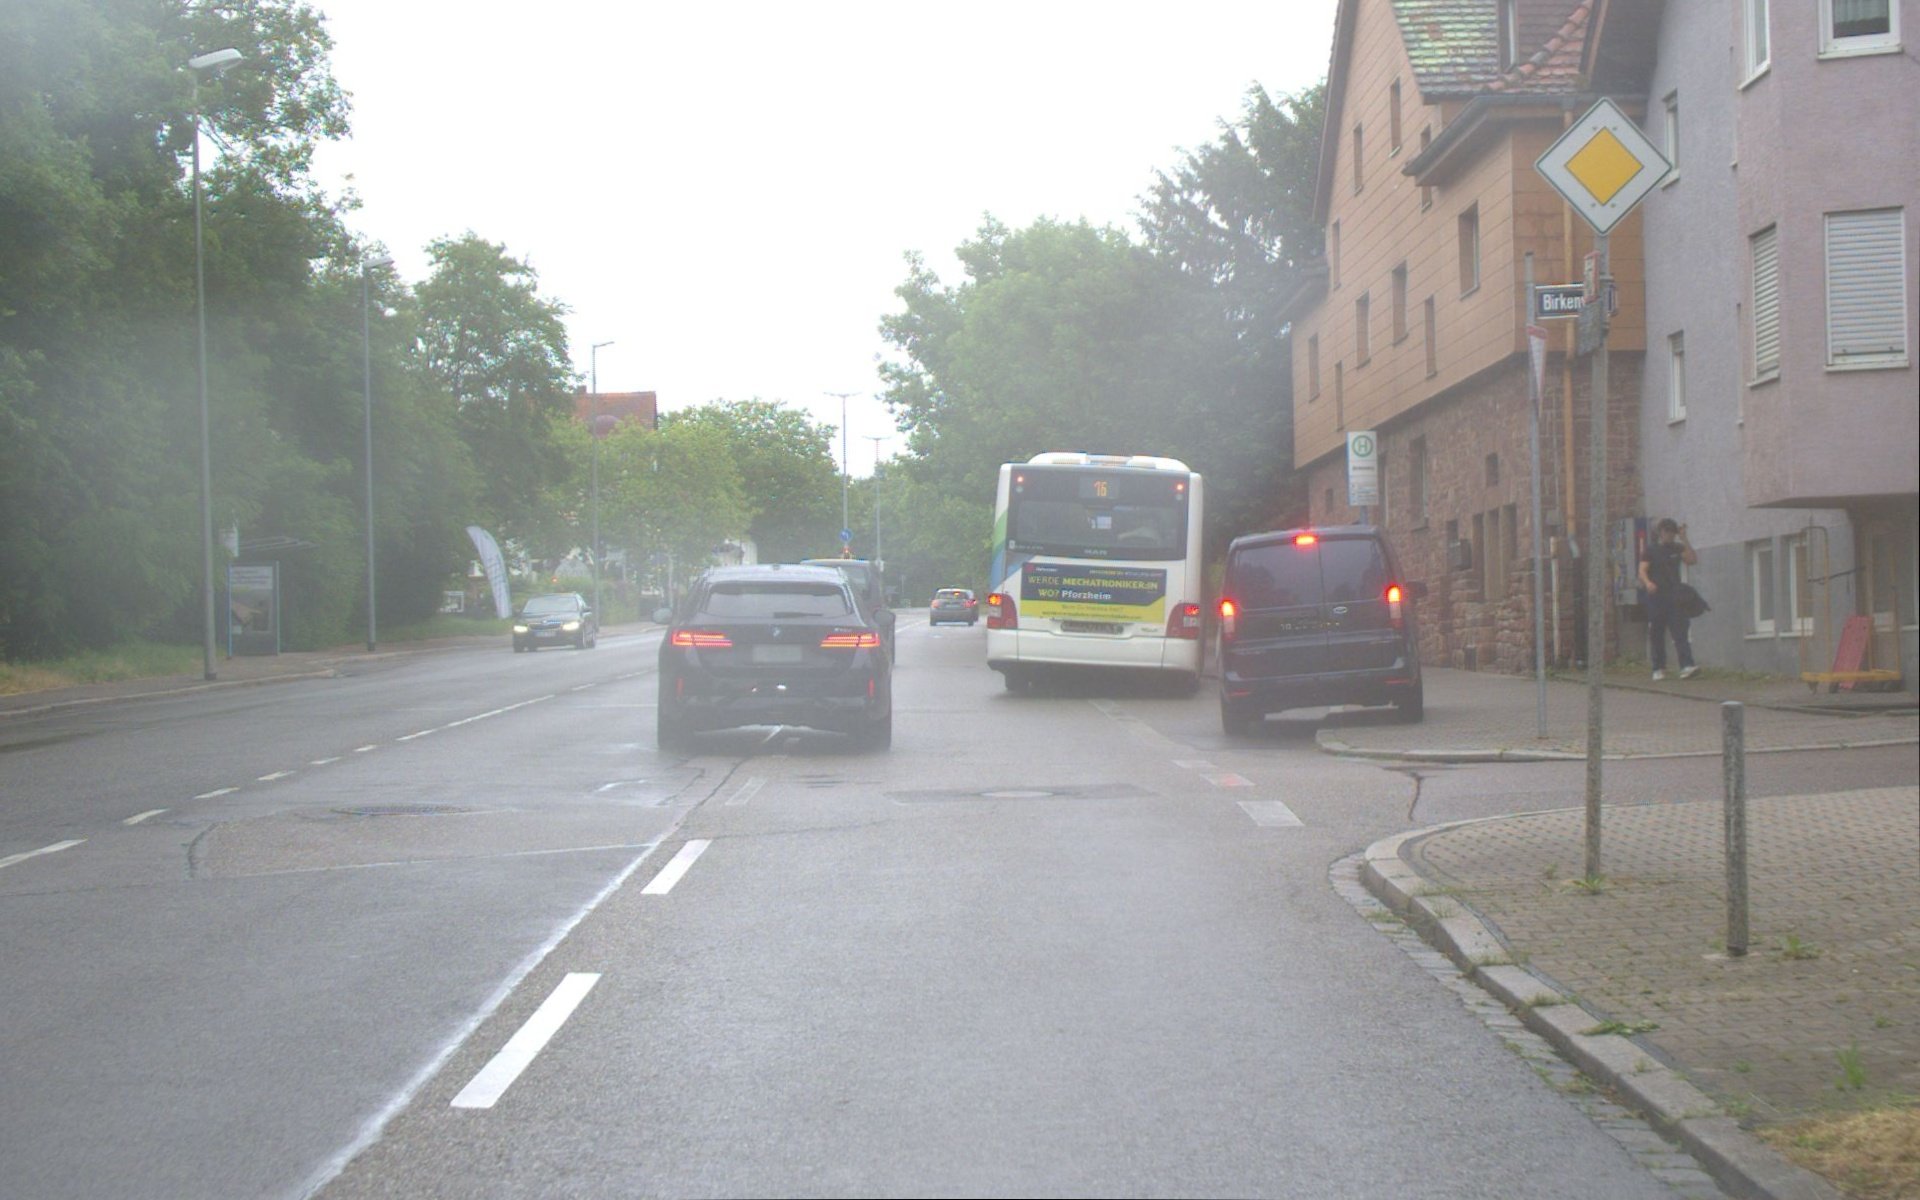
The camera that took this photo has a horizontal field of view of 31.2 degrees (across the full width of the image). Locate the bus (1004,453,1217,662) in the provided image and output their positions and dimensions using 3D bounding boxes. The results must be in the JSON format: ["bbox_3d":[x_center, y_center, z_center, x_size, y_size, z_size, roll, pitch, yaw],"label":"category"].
[{"bbox_3d":[2.177,-0.705,53.113,2.623,2.837,9.795,-2,1,-1],"label":"bus"}]

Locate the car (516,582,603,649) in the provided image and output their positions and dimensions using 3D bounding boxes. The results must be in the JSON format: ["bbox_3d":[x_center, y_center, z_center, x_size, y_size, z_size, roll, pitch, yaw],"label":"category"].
[{"bbox_3d":[-10.113,0.372,87.040,1.770,1.528,4.000,-2,1,-1],"label":"car"}]

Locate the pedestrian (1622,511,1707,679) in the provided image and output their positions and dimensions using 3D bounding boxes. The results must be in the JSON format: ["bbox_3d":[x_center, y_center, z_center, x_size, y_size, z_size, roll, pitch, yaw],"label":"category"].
[{"bbox_3d":[7.523,-0.060,36.716,0.690,1.748,0.669,-2,1,-1],"label":"pedestrian"}]

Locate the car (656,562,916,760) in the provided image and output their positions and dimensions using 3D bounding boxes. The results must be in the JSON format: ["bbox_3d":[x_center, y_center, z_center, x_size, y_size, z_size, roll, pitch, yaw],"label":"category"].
[{"bbox_3d":[-1.509,0.455,28.927,1.993,1.448,4.001,2,1,-4],"label":"car"}]

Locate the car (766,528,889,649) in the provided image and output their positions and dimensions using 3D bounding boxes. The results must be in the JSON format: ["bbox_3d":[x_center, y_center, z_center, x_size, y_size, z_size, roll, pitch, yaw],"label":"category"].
[{"bbox_3d":[-2.251,-0.230,59.351,1.993,2.007,4.000,0,1,0],"label":"car"}]

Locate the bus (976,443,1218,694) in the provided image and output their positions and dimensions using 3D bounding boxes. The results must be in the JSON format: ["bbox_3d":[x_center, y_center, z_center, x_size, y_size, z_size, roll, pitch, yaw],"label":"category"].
[{"bbox_3d":[1.902,-0.475,44.266,2.623,2.837,8.287,-2,1,5],"label":"bus"}]

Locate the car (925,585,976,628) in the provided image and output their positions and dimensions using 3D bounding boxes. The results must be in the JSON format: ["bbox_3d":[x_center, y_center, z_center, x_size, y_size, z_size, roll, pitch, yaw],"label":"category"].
[{"bbox_3d":[-0.399,0.243,136.993,1.865,1.513,4.001,-1,2,-2],"label":"car"}]

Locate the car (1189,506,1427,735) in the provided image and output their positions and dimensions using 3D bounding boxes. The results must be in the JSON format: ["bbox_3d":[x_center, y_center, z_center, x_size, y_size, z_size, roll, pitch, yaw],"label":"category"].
[{"bbox_3d":[3.379,0.165,32.608,1.927,1.886,4.759,-4,0,8],"label":"car"}]
